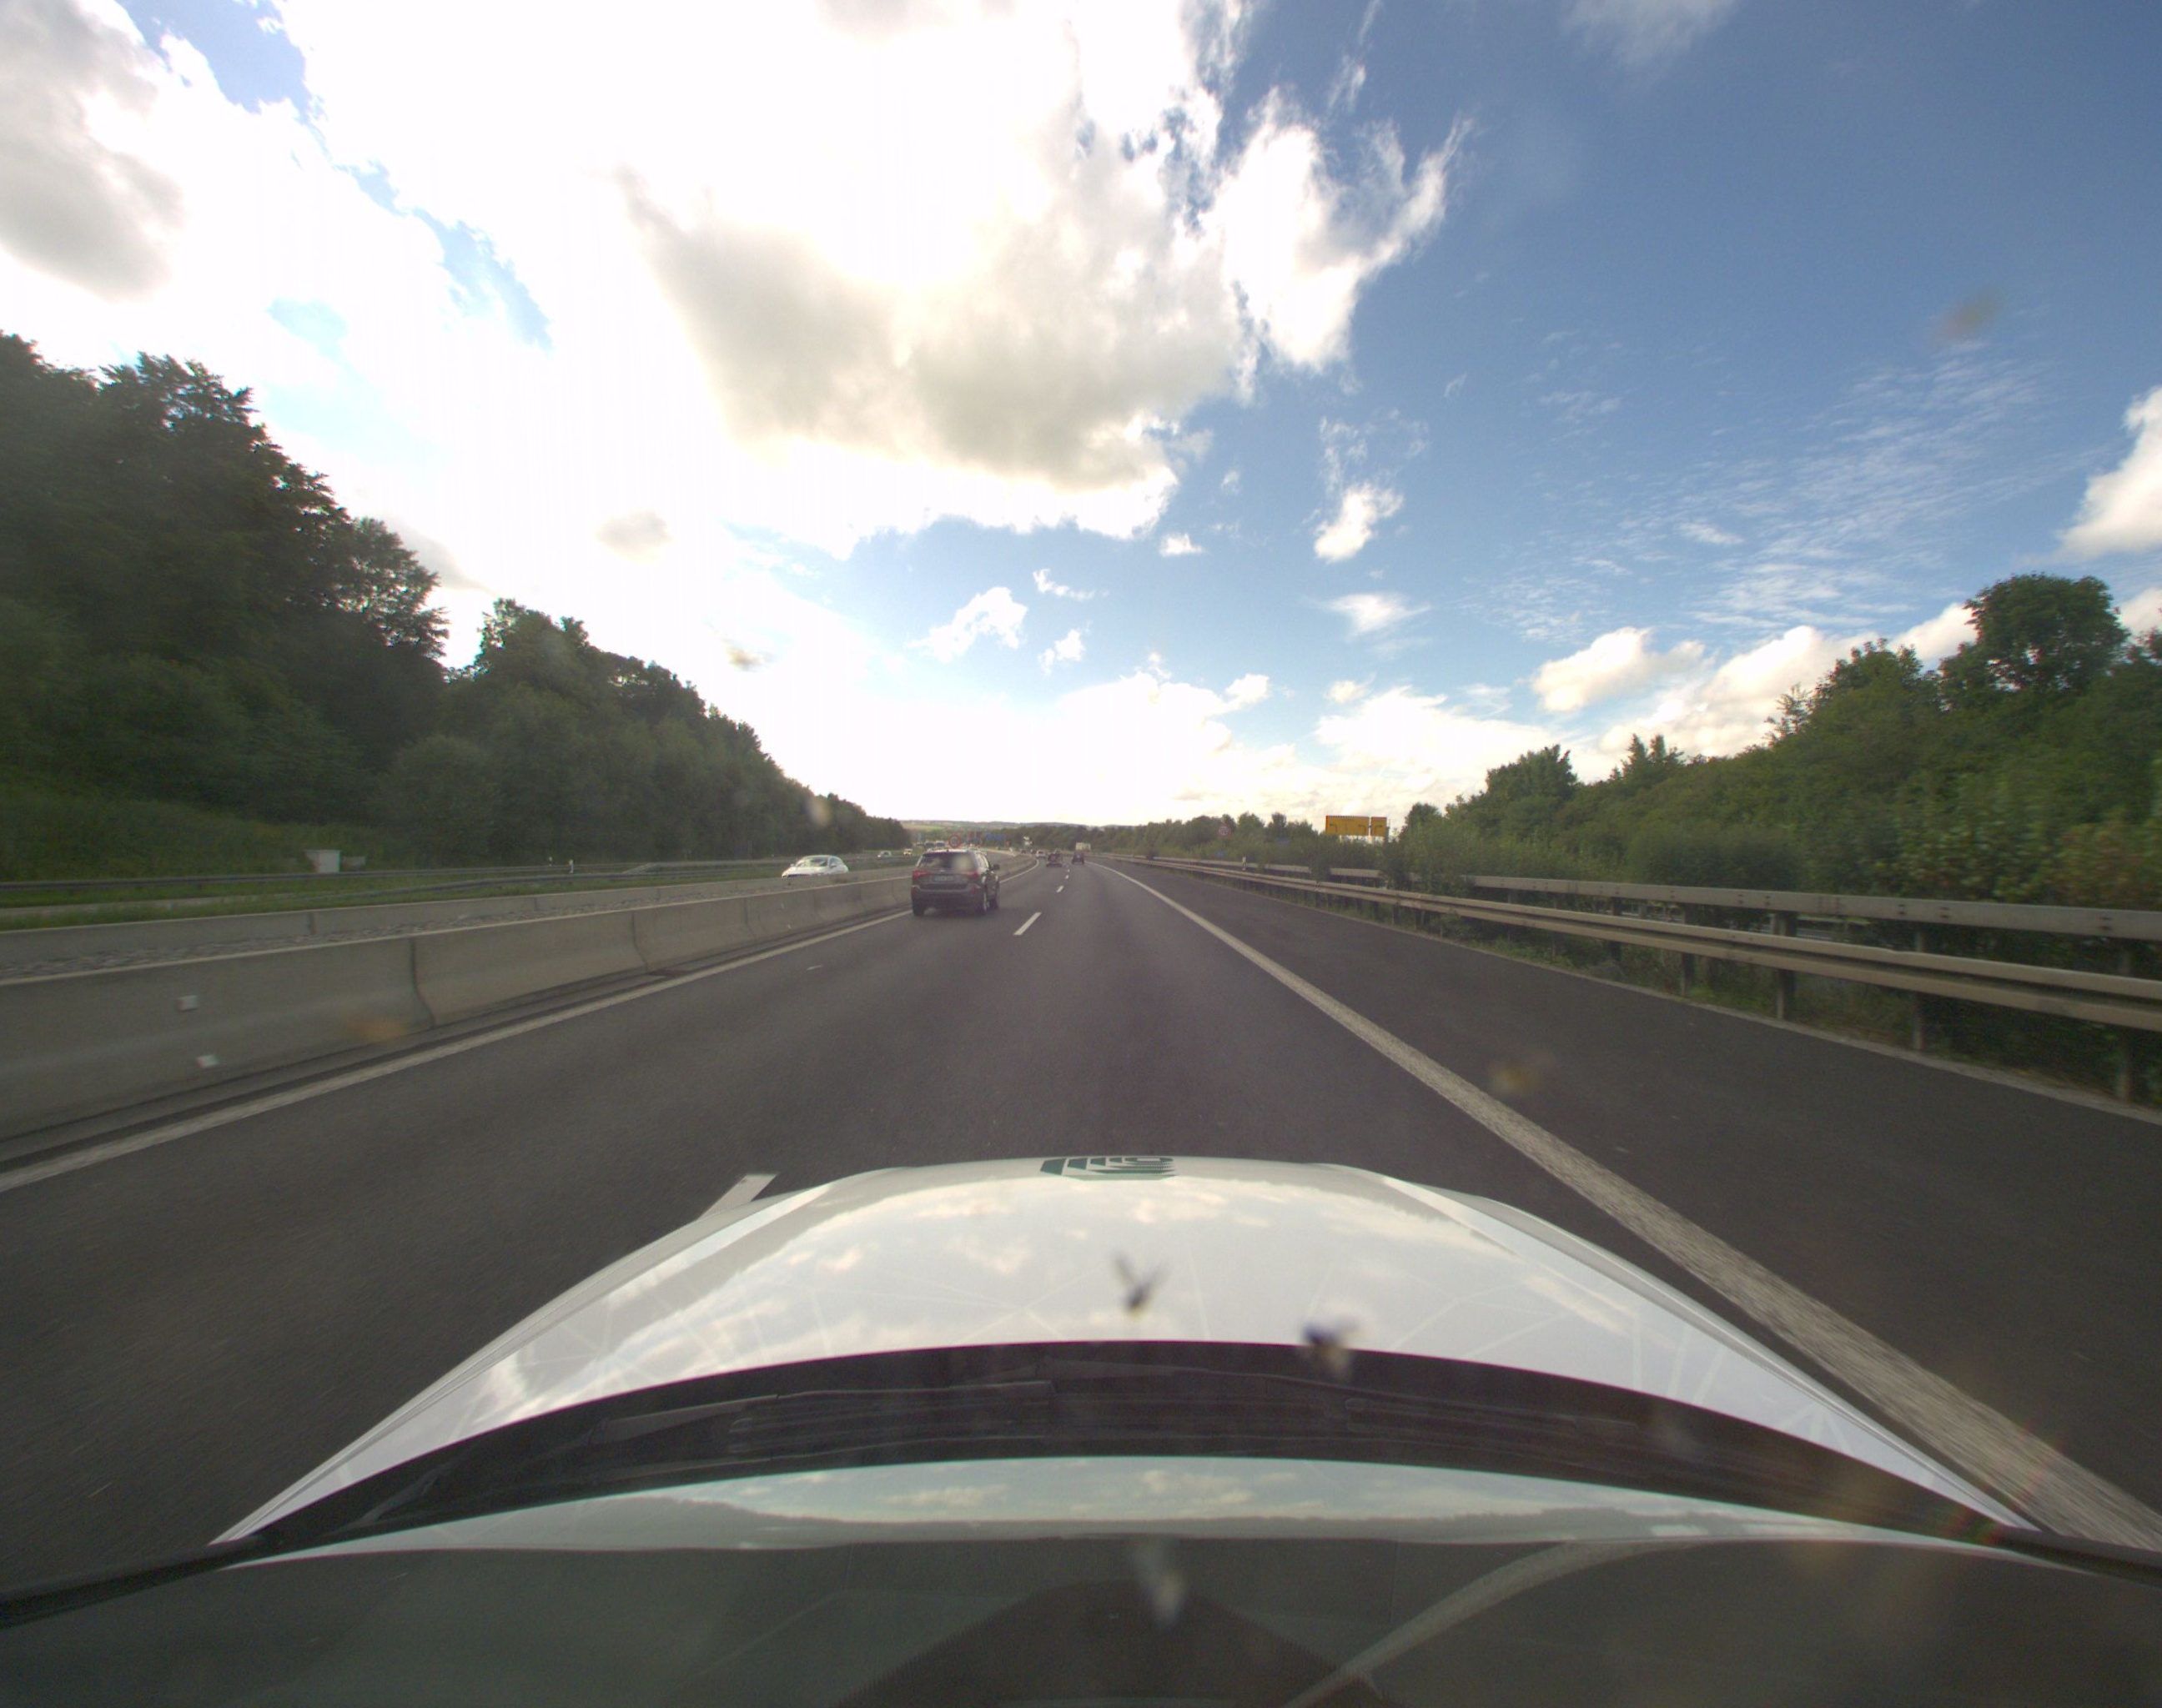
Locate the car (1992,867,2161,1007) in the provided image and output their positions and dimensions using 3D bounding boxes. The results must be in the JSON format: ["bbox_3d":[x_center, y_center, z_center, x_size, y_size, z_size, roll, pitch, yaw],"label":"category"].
[{"bbox_3d":[12.851,0.929,8.337,1.779,1.519,4.673,0,0,-2],"label":"car"}]

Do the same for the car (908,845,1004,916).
[{"bbox_3d":[-3.303,0.661,22.526,1.811,1.736,5.186,0,0,0],"label":"car"}]

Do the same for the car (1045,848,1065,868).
[{"bbox_3d":[-2.859,0.473,90.630,2.024,2.151,4.000,0,1,0],"label":"car"}]

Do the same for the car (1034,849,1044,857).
[{"bbox_3d":[-8.952,-0.238,175.327,1.991,1.684,3.992,0,-1,-5],"label":"car"}]

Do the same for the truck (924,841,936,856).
[{"bbox_3d":[-37.738,-1.330,203.779,2.808,3.826,7.108,0,0,-9],"label":"truck"}]

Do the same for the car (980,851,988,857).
[{"bbox_3d":[-27.712,0.018,232.843,1.709,1.528,4.761,0,-1,-3],"label":"car"}]

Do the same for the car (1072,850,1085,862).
[{"bbox_3d":[-0.316,0.206,107.641,1.583,1.597,4.092,0,0,-2],"label":"car"}]

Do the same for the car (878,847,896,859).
[{"bbox_3d":[-32.109,-0.170,134.686,1.988,2.013,3.998,0,0,-1],"label":"car"}]

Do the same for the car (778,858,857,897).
[{"bbox_3d":[-11.428,0.981,35.723,1.758,1.581,4.933,0,0,1],"label":"car"}]
